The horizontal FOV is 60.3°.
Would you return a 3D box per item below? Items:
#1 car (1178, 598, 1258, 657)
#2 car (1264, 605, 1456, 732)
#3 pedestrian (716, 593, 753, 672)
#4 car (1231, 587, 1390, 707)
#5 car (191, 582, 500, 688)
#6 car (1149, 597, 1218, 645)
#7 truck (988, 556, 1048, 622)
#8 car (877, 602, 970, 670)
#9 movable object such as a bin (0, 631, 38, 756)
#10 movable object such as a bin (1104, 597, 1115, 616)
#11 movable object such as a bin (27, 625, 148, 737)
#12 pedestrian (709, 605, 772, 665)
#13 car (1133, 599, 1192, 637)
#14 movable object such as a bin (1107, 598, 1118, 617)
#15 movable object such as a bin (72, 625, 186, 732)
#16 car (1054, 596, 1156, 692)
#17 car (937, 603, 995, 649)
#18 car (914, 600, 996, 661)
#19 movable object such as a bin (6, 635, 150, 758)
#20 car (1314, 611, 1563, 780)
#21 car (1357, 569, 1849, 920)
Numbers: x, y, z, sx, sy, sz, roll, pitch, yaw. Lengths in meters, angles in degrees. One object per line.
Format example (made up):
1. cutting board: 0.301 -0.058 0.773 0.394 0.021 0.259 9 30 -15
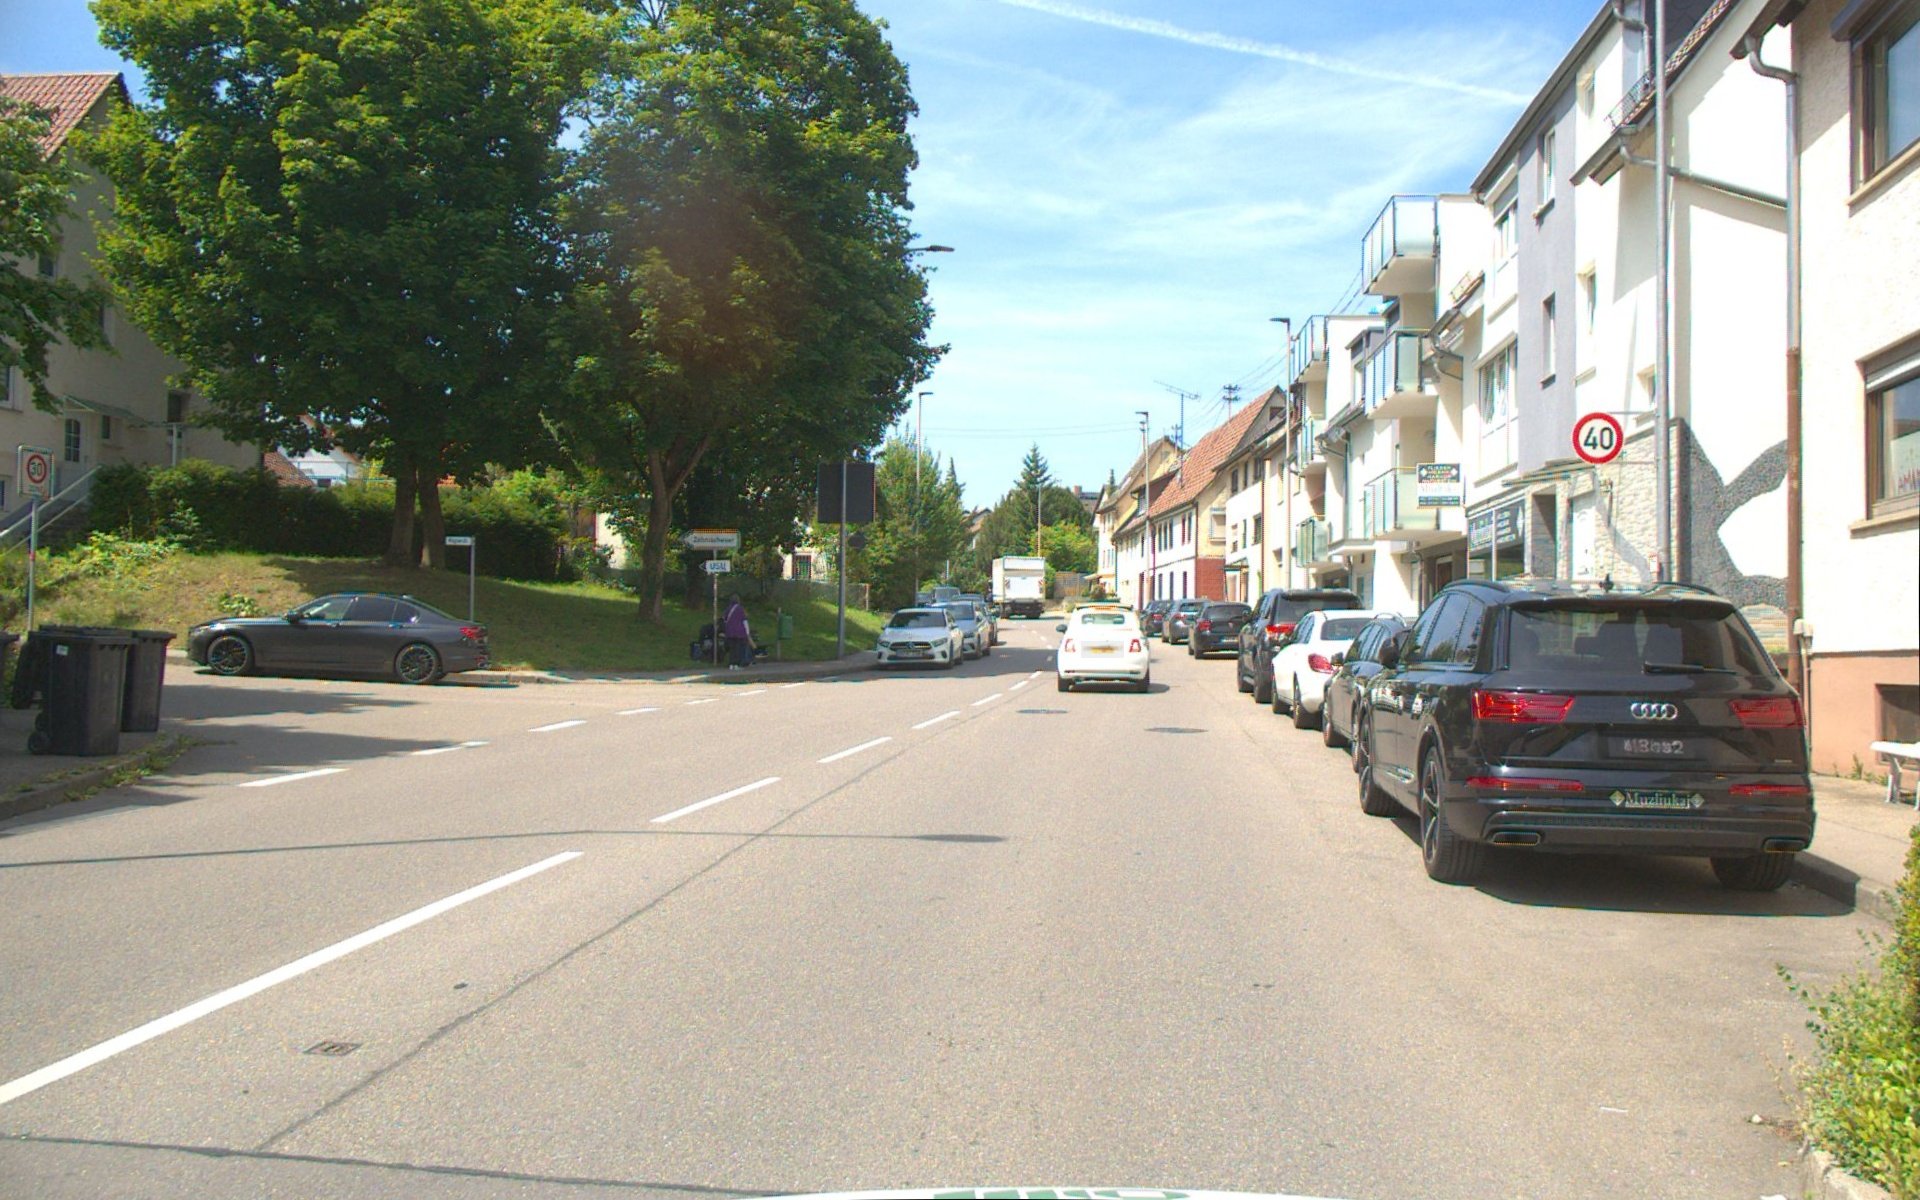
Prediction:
1. car: 6.691 0.698 43.237 1.759 1.449 4.292 -1 0 5
2. car: 5.198 0.817 22.056 1.751 1.481 4.719 0 0 4
3. pedestrian: -4.800 0.683 35.155 0.717 1.645 0.628 1 -1 -11
4. car: 5.633 0.695 27.136 1.912 1.746 4.719 1 0 4
5. car: -10.553 0.607 28.778 4.692 1.505 1.994 4 -1 -13
6. car: 7.260 0.652 54.024 1.756 1.427 4.413 -1 0 1
7. truck: 3.500 -0.598 101.239 3.007 3.840 7.863 0 -1 -3
8. car: -0.832 0.829 40.236 1.717 1.492 4.365 -2 0 6
9. movable object such as a bin: -8.313 0.769 13.727 0.783 1.018 0.805 2 0 8
10. movable object such as a bin: 8.763 0.387 96.703 0.535 1.051 0.551 -3 0 -3
11. movable object such as a bin: -8.593 0.792 16.306 0.755 1.018 0.609 4 -2 8
12. pedestrian: -4.888 0.772 36.922 1.210 1.291 0.647 2 -1 10
13. car: 7.680 0.668 63.048 1.632 1.376 4.186 0 0 -1
14. movable object such as a bin: 8.753 0.415 94.876 0.535 1.051 0.551 -3 0 -3
15. movable object such as a bin: -8.509 0.800 16.948 0.755 1.018 0.609 4 -2 9
16. car: 2.654 0.741 30.081 1.688 1.587 4.003 1 0 5
17. car: 0.247 0.877 57.854 1.767 1.448 4.930 -1 0 3
18. car: -0.085 0.820 46.156 1.735 1.554 4.225 -2 0 7
19. movable object such as a bin: -7.648 0.822 14.363 0.833 1.018 0.694 1 -1 8
20. car: 4.689 0.851 16.793 1.751 1.445 4.361 0 0 7
21. car: 3.762 0.733 10.597 1.804 1.699 4.659 1 0 7
